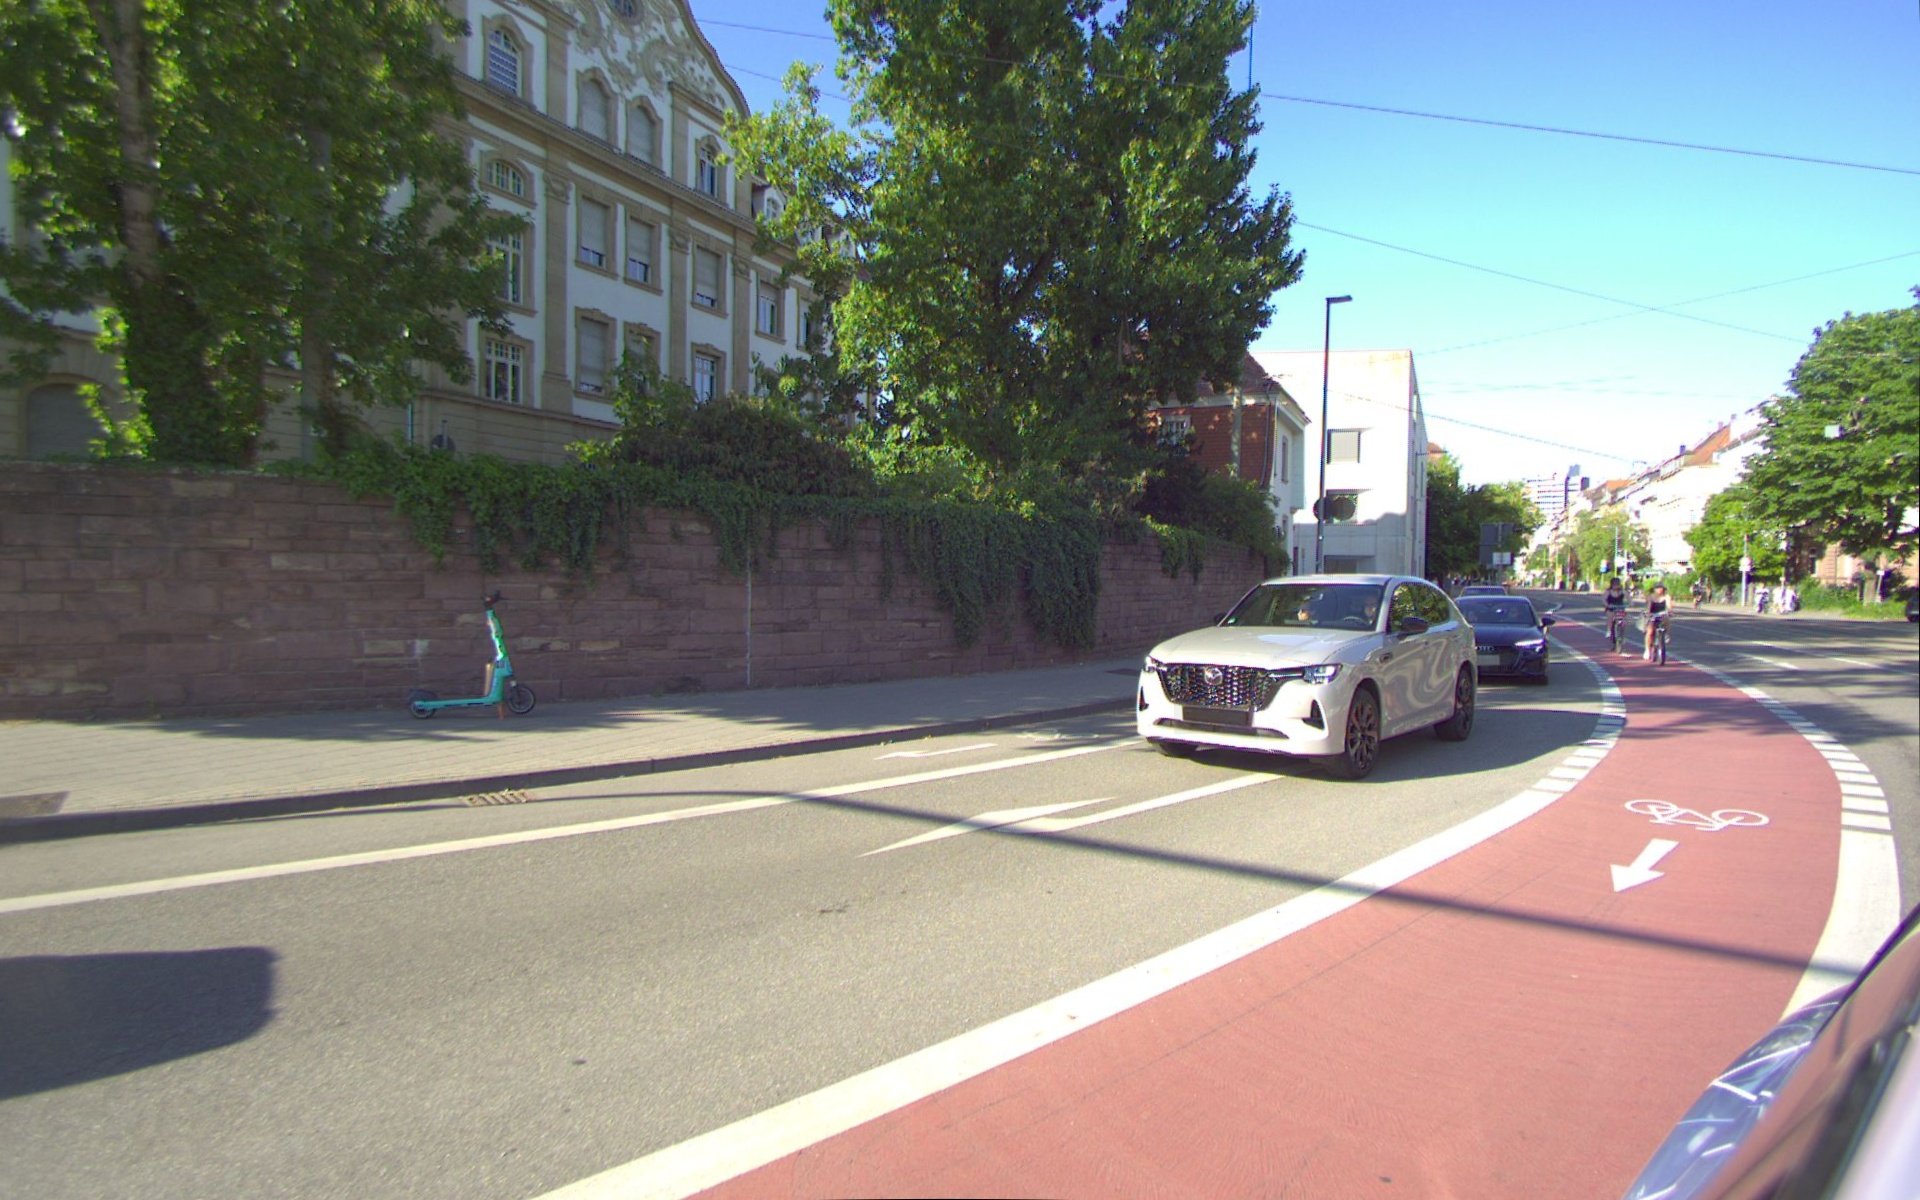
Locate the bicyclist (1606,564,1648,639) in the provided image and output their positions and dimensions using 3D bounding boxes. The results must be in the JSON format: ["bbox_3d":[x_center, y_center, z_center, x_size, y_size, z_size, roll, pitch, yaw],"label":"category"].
[{"bbox_3d":[15.147,0.015,23.017,0.670,1.667,1.019,2,2,29],"label":"bicyclist"}]

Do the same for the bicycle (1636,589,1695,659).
[{"bbox_3d":[14.113,0.444,20.295,0.670,1.266,2.432,2,2,28],"label":"bicycle"}]

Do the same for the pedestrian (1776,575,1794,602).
[{"bbox_3d":[50.425,-0.707,61.881,0.669,1.668,0.809,1,1,29],"label":"pedestrian"}]

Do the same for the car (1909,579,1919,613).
[{"bbox_3d":[45.723,-0.201,46.091,3.577,1.580,1.652,-1,0,-5],"label":"car"}]

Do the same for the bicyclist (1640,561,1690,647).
[{"bbox_3d":[14.130,0.060,20.304,0.670,1.667,1.019,2,2,29],"label":"bicyclist"}]

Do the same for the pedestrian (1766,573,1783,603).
[{"bbox_3d":[46.372,-0.700,57.616,0.672,1.668,0.807,1,1,37],"label":"pedestrian"}]

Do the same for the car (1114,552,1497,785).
[{"bbox_3d":[3.528,0.456,9.771,1.939,1.713,4.464,0,1,42],"label":"car"}]

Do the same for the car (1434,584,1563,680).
[{"bbox_3d":[9.439,0.463,17.596,1.775,1.451,3.956,0,1,31],"label":"car"}]

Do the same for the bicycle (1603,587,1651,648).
[{"bbox_3d":[15.140,0.365,23.018,0.670,1.266,2.432,2,2,28],"label":"bicycle"}]

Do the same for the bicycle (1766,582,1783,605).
[{"bbox_3d":[46.354,-0.359,57.606,0.672,1.266,2.424,1,1,37],"label":"bicycle"}]

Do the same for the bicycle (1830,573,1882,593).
[{"bbox_3d":[58.883,-1.132,66.522,2.429,1.266,0.671,2,2,23],"label":"bicycle"}]

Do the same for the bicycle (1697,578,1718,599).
[{"bbox_3d":[46.490,-0.707,62.956,0.670,1.266,2.432,2,2,28],"label":"bicycle"}]

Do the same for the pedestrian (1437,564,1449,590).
[{"bbox_3d":[32.229,-1.535,67.531,0.669,1.668,0.809,1,1,29],"label":"pedestrian"}]

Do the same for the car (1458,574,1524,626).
[{"bbox_3d":[17.090,-0.027,32.510,1.637,1.580,3.610,0,1,31],"label":"car"}]

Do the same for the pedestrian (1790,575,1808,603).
[{"bbox_3d":[51.055,-0.670,61.560,0.669,1.668,0.809,1,1,29],"label":"pedestrian"}]

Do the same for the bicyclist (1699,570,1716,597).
[{"bbox_3d":[46.504,-1.039,62.956,0.670,1.667,1.019,2,2,29],"label":"bicyclist"}]

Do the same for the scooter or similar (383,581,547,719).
[{"bbox_3d":[-4.852,0.468,9.999,1.394,1.285,0.577,0,1,-20],"label":"scooter or similar"}]

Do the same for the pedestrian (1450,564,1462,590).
[{"bbox_3d":[32.954,-1.536,67.189,0.669,1.668,0.809,1,1,29],"label":"pedestrian"}]
